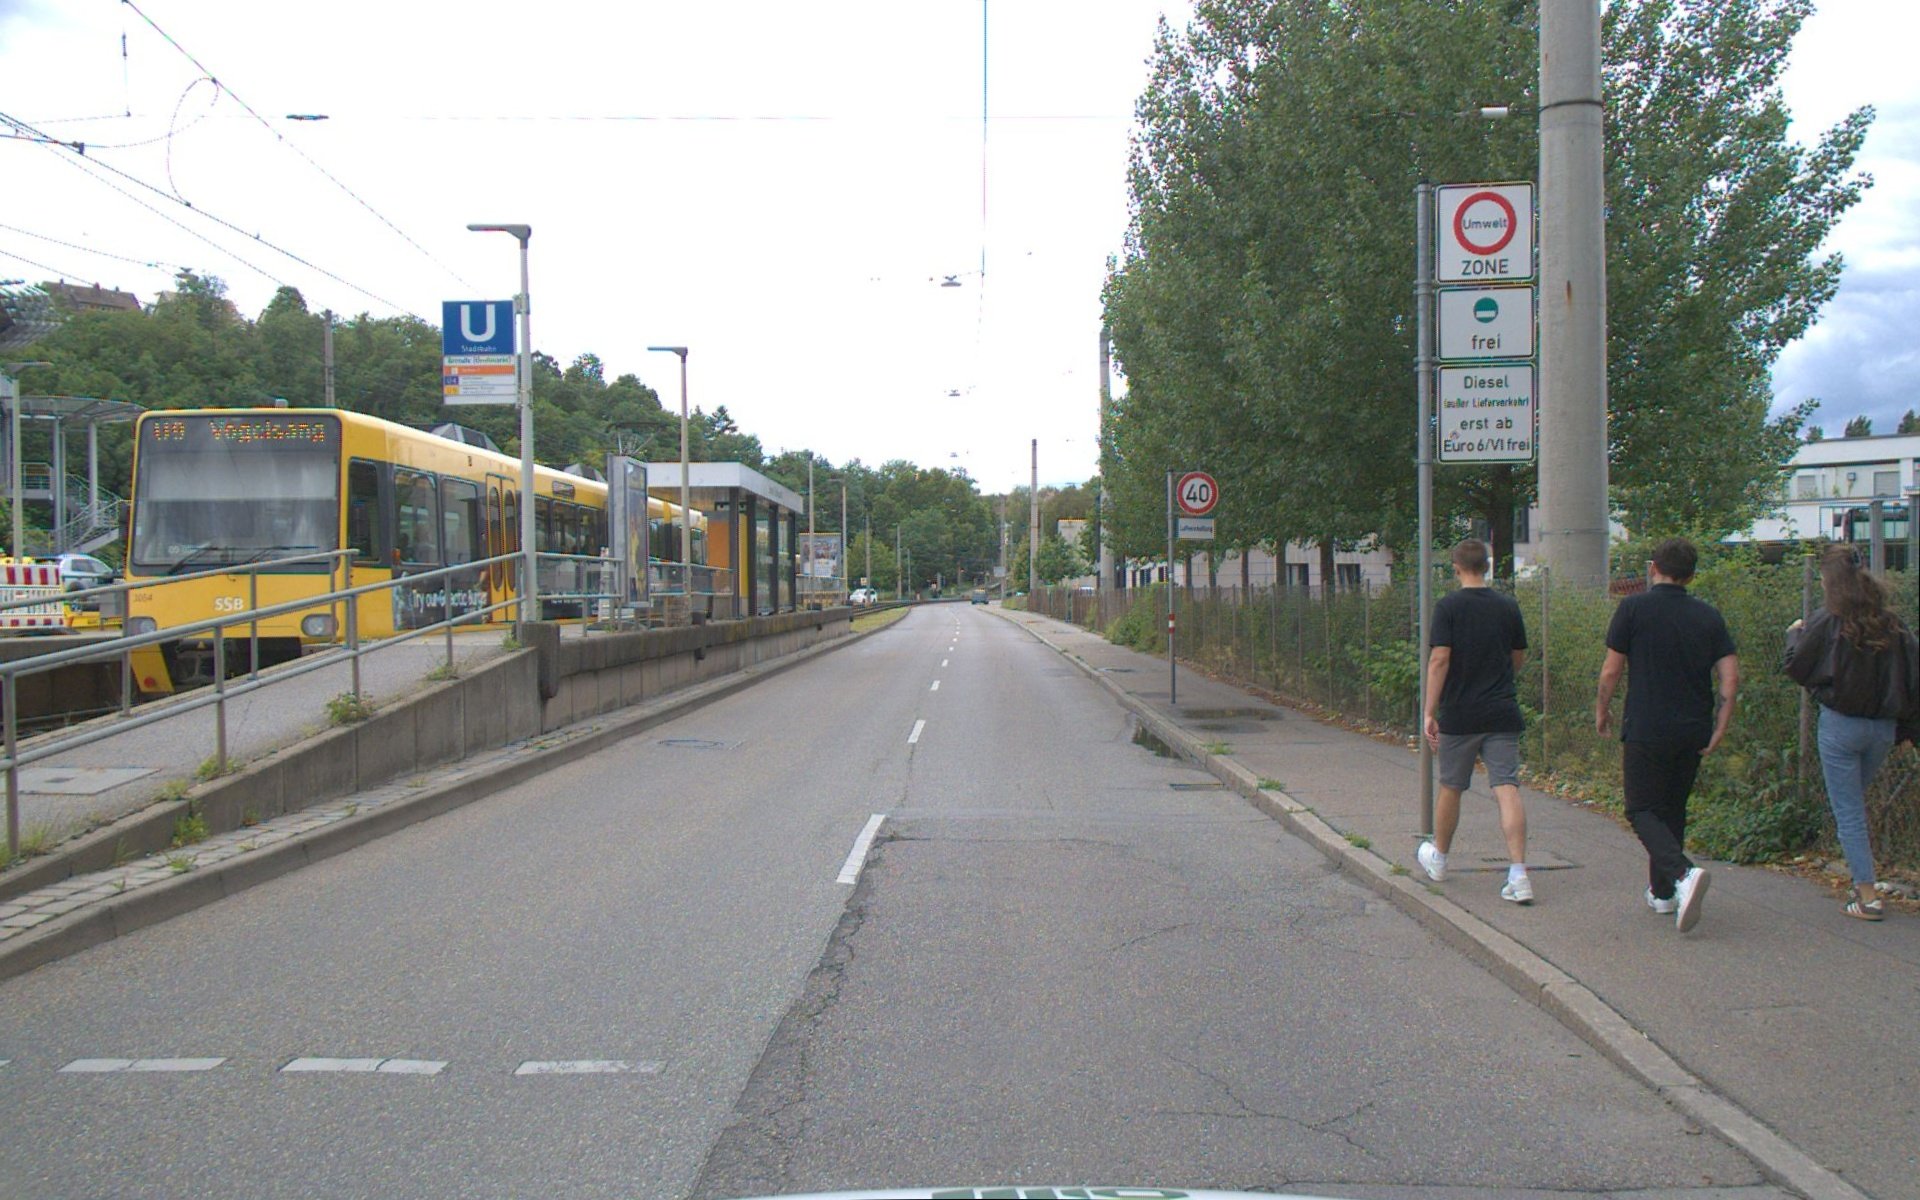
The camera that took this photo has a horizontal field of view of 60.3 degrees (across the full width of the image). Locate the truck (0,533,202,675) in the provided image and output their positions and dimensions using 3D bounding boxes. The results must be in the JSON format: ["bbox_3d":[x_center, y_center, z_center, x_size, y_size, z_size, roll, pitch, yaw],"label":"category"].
[{"bbox_3d":[-22.307,0.080,40.964,2.638,3.132,9.010,-1,0,2],"label":"truck"}]

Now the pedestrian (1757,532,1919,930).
[{"bbox_3d":[4.120,0.581,7.537,0.590,1.719,0.671,-1,-3,1],"label":"pedestrian"}]

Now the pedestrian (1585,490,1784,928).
[{"bbox_3d":[3.287,0.477,7.553,0.590,1.900,0.672,-1,0,1],"label":"pedestrian"}]

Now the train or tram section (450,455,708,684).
[{"bbox_3d":[-7.696,-0.681,35.429,2.684,4.035,11.913,-1,1,0],"label":"train or tram section"}]

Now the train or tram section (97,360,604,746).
[{"bbox_3d":[-7.731,-0.641,23.458,2.684,4.035,11.913,-1,1,0],"label":"train or tram section"}]

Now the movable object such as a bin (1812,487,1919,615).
[{"bbox_3d":[17.328,-0.853,31.184,1.954,2.049,4.292,-2,-3,24],"label":"movable object such as a bin"}]

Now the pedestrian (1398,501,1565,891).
[{"bbox_3d":[2.641,0.482,8.435,0.590,1.900,0.671,-1,-3,1],"label":"pedestrian"}]

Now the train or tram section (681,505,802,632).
[{"bbox_3d":[-7.656,-1.156,59.308,2.911,4.136,10.197,-1,1,0],"label":"train or tram section"}]
